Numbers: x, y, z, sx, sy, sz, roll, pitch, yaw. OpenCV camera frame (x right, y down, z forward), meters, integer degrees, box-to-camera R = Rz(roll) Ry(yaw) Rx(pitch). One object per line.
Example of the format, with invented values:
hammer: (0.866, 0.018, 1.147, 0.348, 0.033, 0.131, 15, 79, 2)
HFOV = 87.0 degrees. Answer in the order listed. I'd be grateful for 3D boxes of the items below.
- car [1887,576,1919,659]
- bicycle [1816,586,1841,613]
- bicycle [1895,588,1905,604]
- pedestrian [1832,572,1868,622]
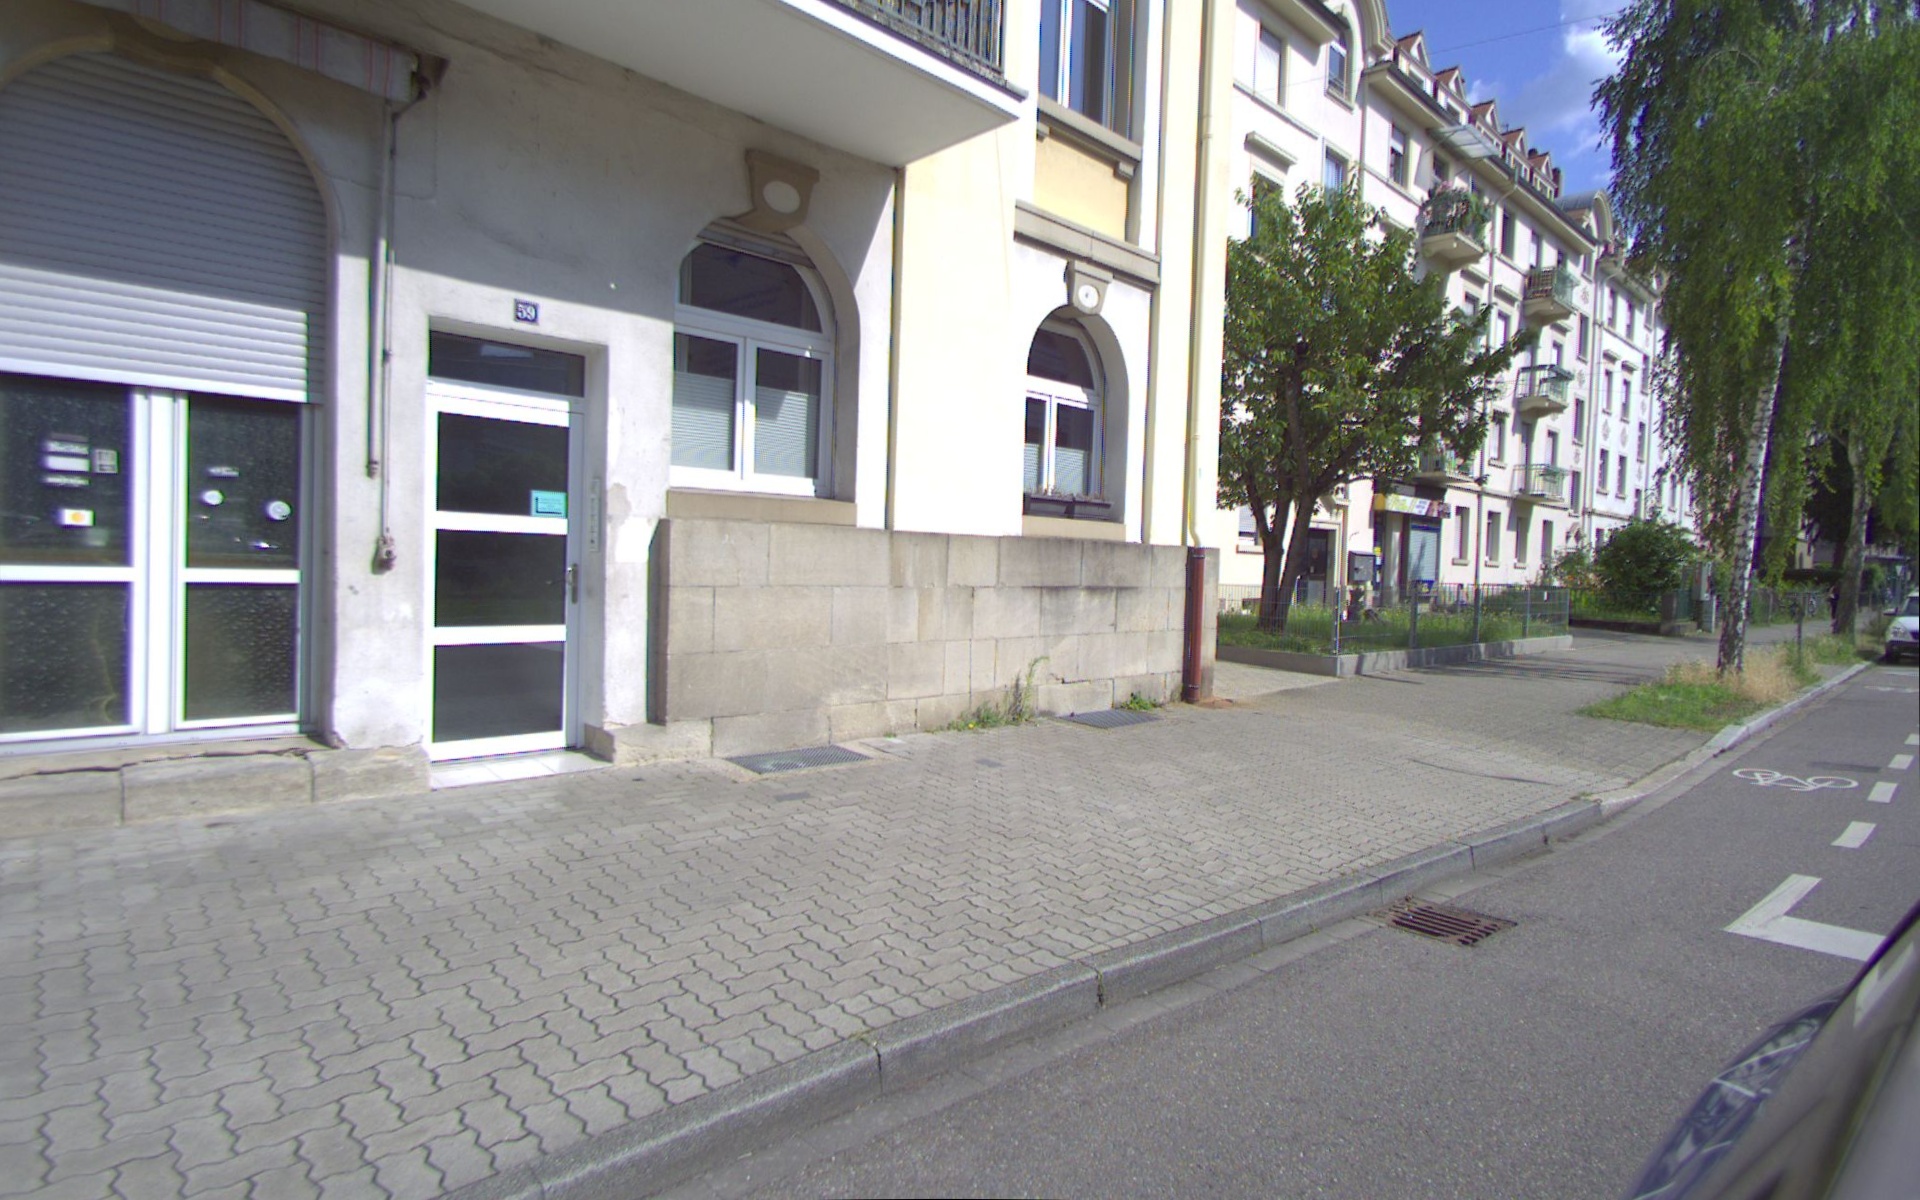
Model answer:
car: (20.804, 0.342, 21.096, 3.930, 1.650, 1.724, 0, 1, -41)
bicycle: (36.500, -0.045, 42.538, 2.145, 1.090, 0.472, 0, 3, -42)
bicycle: (64.749, -0.279, 69.733, 1.456, 1.034, 0.350, 0, 6, -44)
pedestrian: (31.755, -0.113, 36.111, 0.678, 1.703, 0.732, 0, 4, -40)
